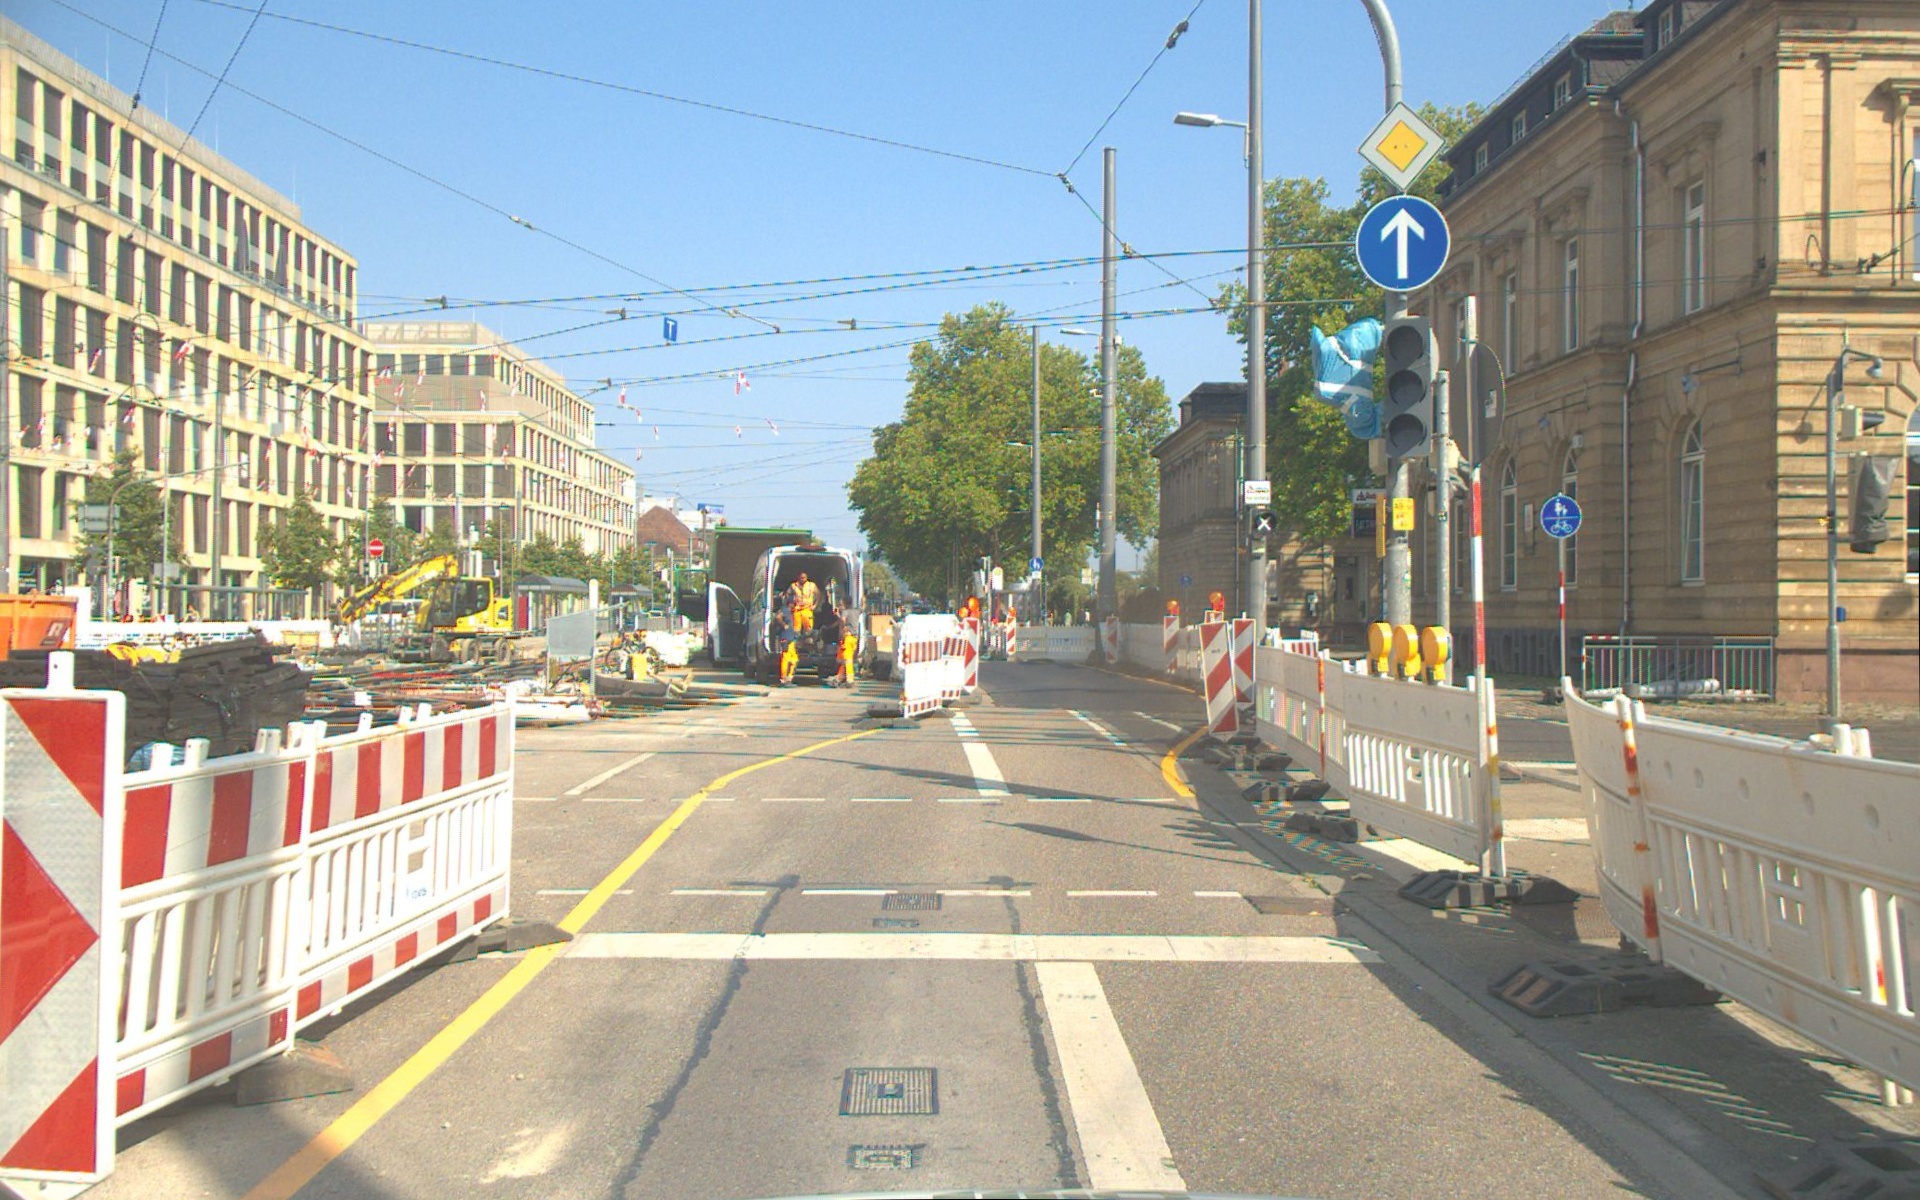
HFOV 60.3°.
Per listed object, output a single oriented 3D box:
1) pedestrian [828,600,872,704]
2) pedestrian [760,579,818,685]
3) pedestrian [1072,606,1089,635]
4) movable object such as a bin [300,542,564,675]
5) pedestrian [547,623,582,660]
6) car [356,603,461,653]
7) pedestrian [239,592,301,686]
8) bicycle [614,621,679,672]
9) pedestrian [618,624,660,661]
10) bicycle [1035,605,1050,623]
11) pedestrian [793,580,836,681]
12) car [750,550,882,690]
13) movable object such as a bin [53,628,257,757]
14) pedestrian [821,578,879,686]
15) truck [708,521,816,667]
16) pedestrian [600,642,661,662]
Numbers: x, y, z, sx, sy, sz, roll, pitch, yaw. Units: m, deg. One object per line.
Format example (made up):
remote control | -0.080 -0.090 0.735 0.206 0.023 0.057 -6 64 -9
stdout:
pedestrian | -2.192 1.028 32.975 0.718 2.049 0.908 -1 -1 6
pedestrian | -3.357 0.628 32.518 0.720 2.049 0.905 -1 -1 31
pedestrian | 7.231 1.237 99.504 0.802 1.715 1.012 -4 -1 -1
movable object such as a bin | -17.484 0.279 55.630 3.432 4.083 9.039 -1 0 23
pedestrian | -14.425 1.508 60.359 0.994 1.329 0.983 0 -1 2
car | -24.419 1.192 73.407 1.772 2.065 5.122 0 1 17
pedestrian | -14.250 0.806 34.152 1.007 1.898 1.133 1 -1 -32
bicycle | -7.292 1.072 38.440 1.632 1.156 0.614 -1 -1 42
pedestrian | -11.583 1.532 59.664 1.285 1.329 0.798 -1 -1 23
bicycle | 5.051 0.873 101.735 0.703 1.060 1.901 0 0 -3
pedestrian | -2.993 0.624 34.061 0.718 2.049 0.907 -1 -1 4
car | -3.189 0.433 35.519 2.186 2.777 5.154 0 -1 -12
movable object such as a bin | -8.005 0.883 16.585 0.734 1.190 2.292 0 -1 6
pedestrian | -2.121 0.616 32.025 0.721 2.049 0.905 -1 -1 32
truck | -5.717 -0.136 46.658 2.625 3.743 8.194 0 0 -10
pedestrian | -11.210 1.775 56.370 1.862 0.647 0.912 0 -1 2
